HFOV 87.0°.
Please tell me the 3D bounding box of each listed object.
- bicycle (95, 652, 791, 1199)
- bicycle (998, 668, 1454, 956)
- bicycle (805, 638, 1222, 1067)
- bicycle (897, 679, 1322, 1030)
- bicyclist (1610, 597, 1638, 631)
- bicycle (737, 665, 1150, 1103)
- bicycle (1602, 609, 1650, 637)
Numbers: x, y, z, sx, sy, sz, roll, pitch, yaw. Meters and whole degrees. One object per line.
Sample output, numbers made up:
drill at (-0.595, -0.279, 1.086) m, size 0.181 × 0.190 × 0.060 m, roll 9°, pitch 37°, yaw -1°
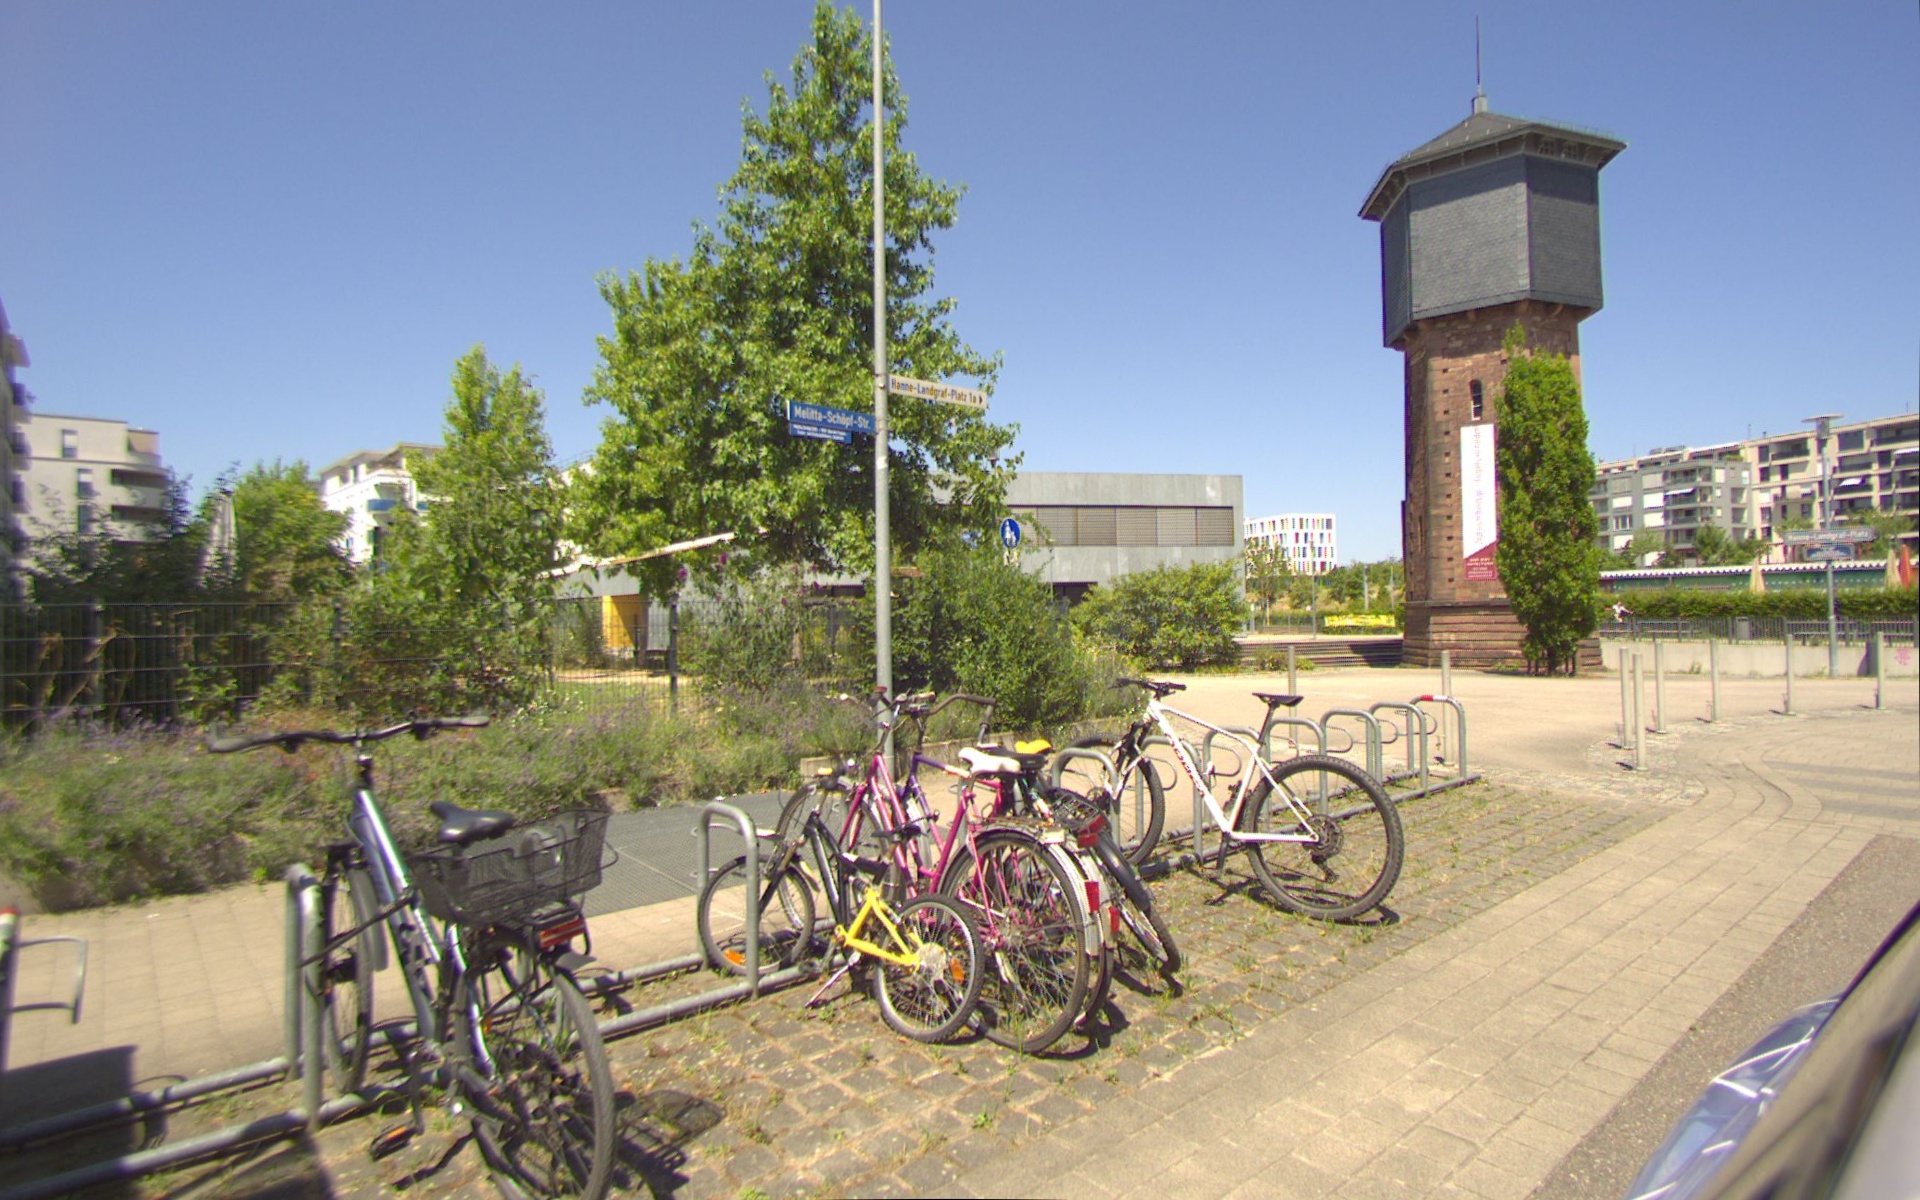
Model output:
bicycle at (-1.434, 0.816, 2.674) m, size 1.909 × 1.238 × 0.816 m, roll 1°, pitch 0°, yaw 34°
bicycle at (1.255, 0.913, 5.021) m, size 2.022 × 1.016 × 0.863 m, roll 0°, pitch 0°, yaw 38°
bicycle at (0.093, 0.798, 3.972) m, size 0.545 × 1.238 × 1.854 m, roll 0°, pitch 0°, yaw -38°
bicycle at (0.526, 0.932, 4.426) m, size 0.926 × 0.987 × 1.862 m, roll 0°, pitch 1°, yaw -27°
bicyclist at (28.937, 0.611, 44.093) m, size 0.718 × 1.453 × 0.661 m, roll -1°, pitch -2°, yaw -7°
bicycle at (-0.184, 0.851, 3.726) m, size 0.467 × 1.125 × 1.887 m, roll 0°, pitch -1°, yaw -38°
bicycle at (28.970, 1.002, 44.049) m, size 0.579 × 1.214 × 1.944 m, roll -1°, pitch -1°, yaw -8°
